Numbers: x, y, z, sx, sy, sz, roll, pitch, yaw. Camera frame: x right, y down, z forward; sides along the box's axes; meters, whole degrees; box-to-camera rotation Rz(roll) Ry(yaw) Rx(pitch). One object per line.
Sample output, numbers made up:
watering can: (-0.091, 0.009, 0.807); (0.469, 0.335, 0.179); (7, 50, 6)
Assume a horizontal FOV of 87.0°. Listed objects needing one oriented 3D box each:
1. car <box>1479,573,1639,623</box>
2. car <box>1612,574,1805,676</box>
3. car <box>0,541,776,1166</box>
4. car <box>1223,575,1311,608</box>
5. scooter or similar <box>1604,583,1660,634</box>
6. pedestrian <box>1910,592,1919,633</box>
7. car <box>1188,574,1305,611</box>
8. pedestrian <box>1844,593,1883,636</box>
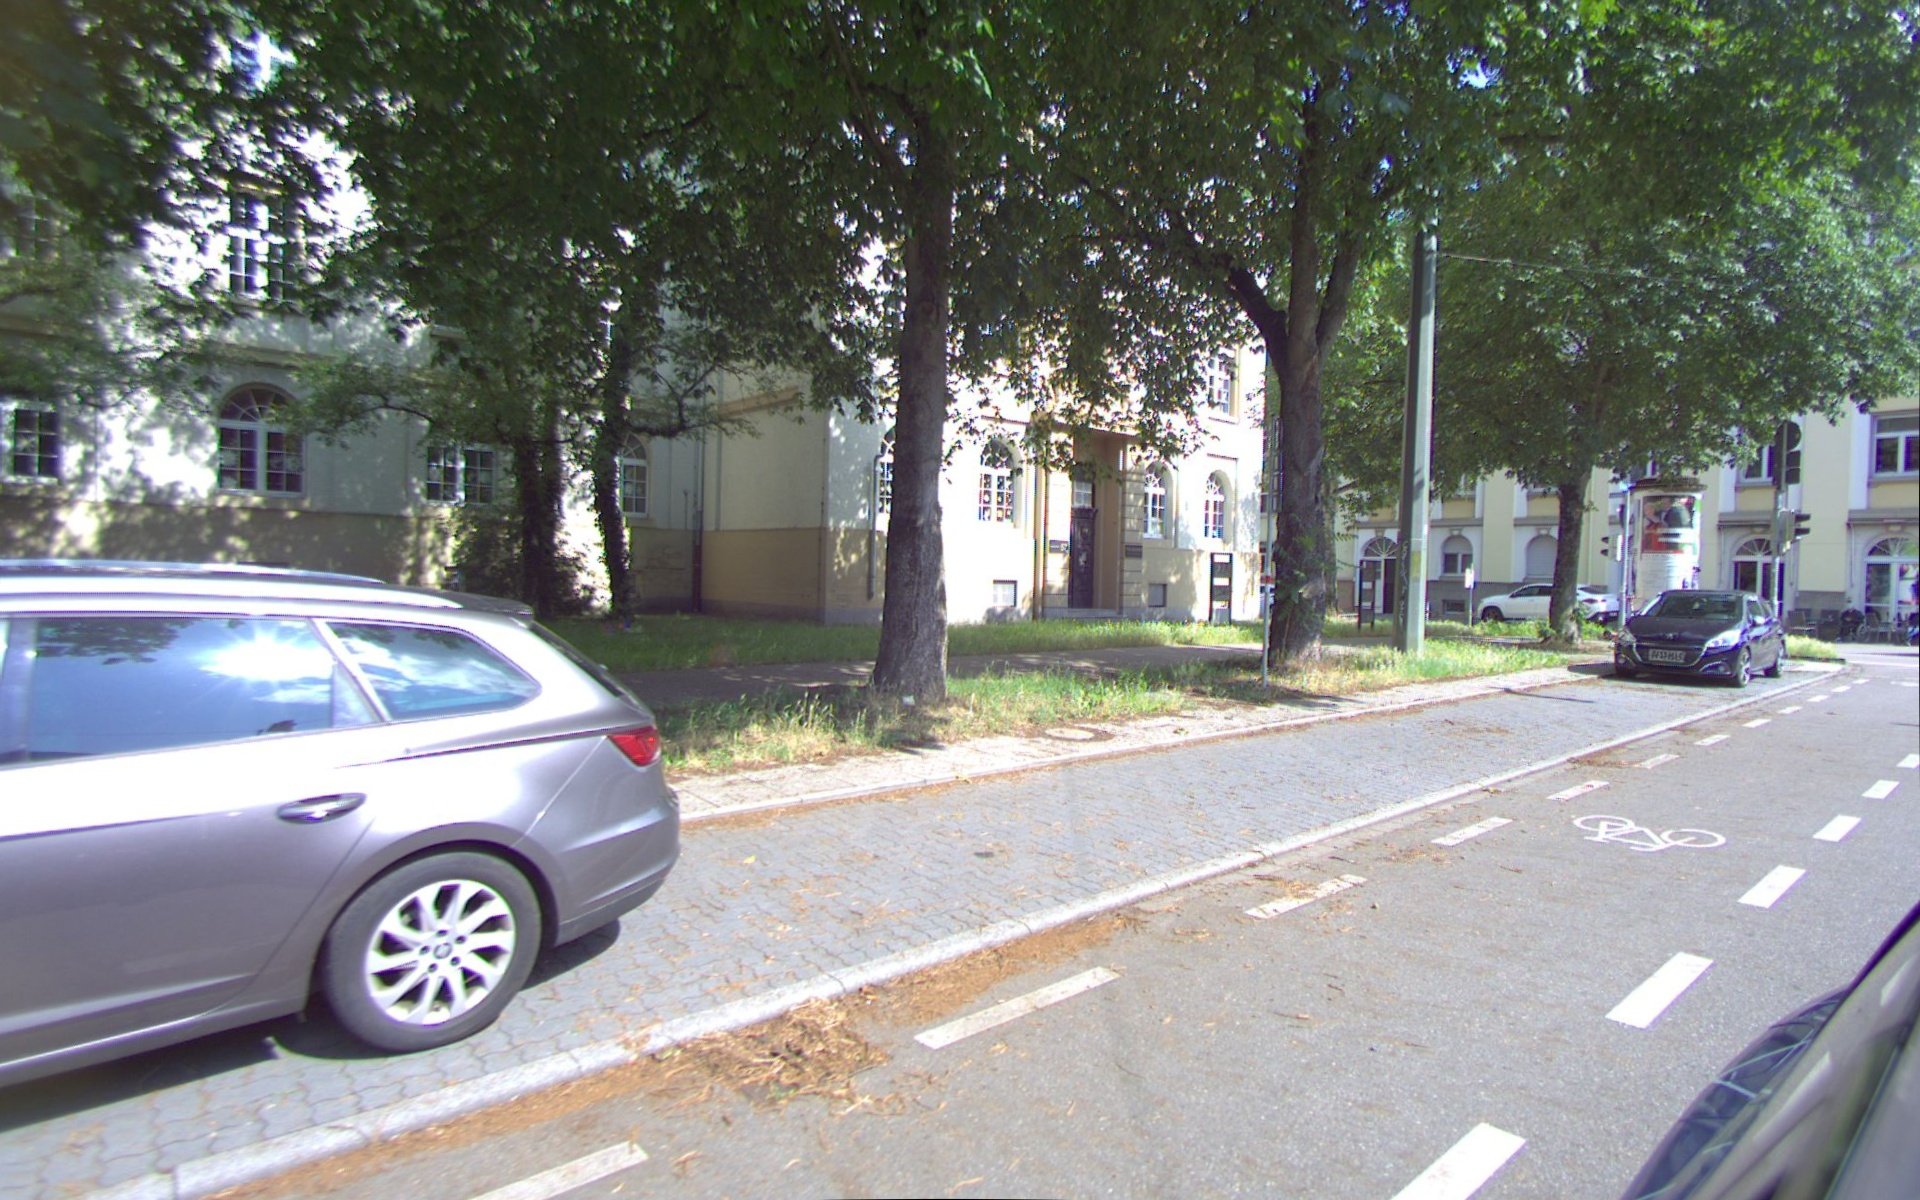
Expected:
car: (22.247, -0.143, 37.802); (1.820, 1.675, 4.842); (-2, 3, -30)
car: (12.294, 0.308, 16.539); (3.856, 1.404, 1.689); (-1, 4, -41)
car: (-3.021, 0.580, 2.978); (4.578, 1.416, 1.833); (0, 5, -43)
car: (15.166, -0.470, 50.182); (1.820, 1.442, 4.006); (-3, 4, -29)
scooter or similar: (17.026, 0.206, 25.670); (0.437, 1.257, 1.111); (1, 2, -19)
pedestrian: (30.164, 0.395, 31.438); (0.876, 1.260, 0.804); (-2, 3, -38)
car: (11.461, -0.319, 40.634); (4.096, 1.369, 1.860); (1, 2, -5)
pedestrian: (28.845, 0.450, 32.315); (0.745, 1.304, 0.804); (-2, 3, -38)
